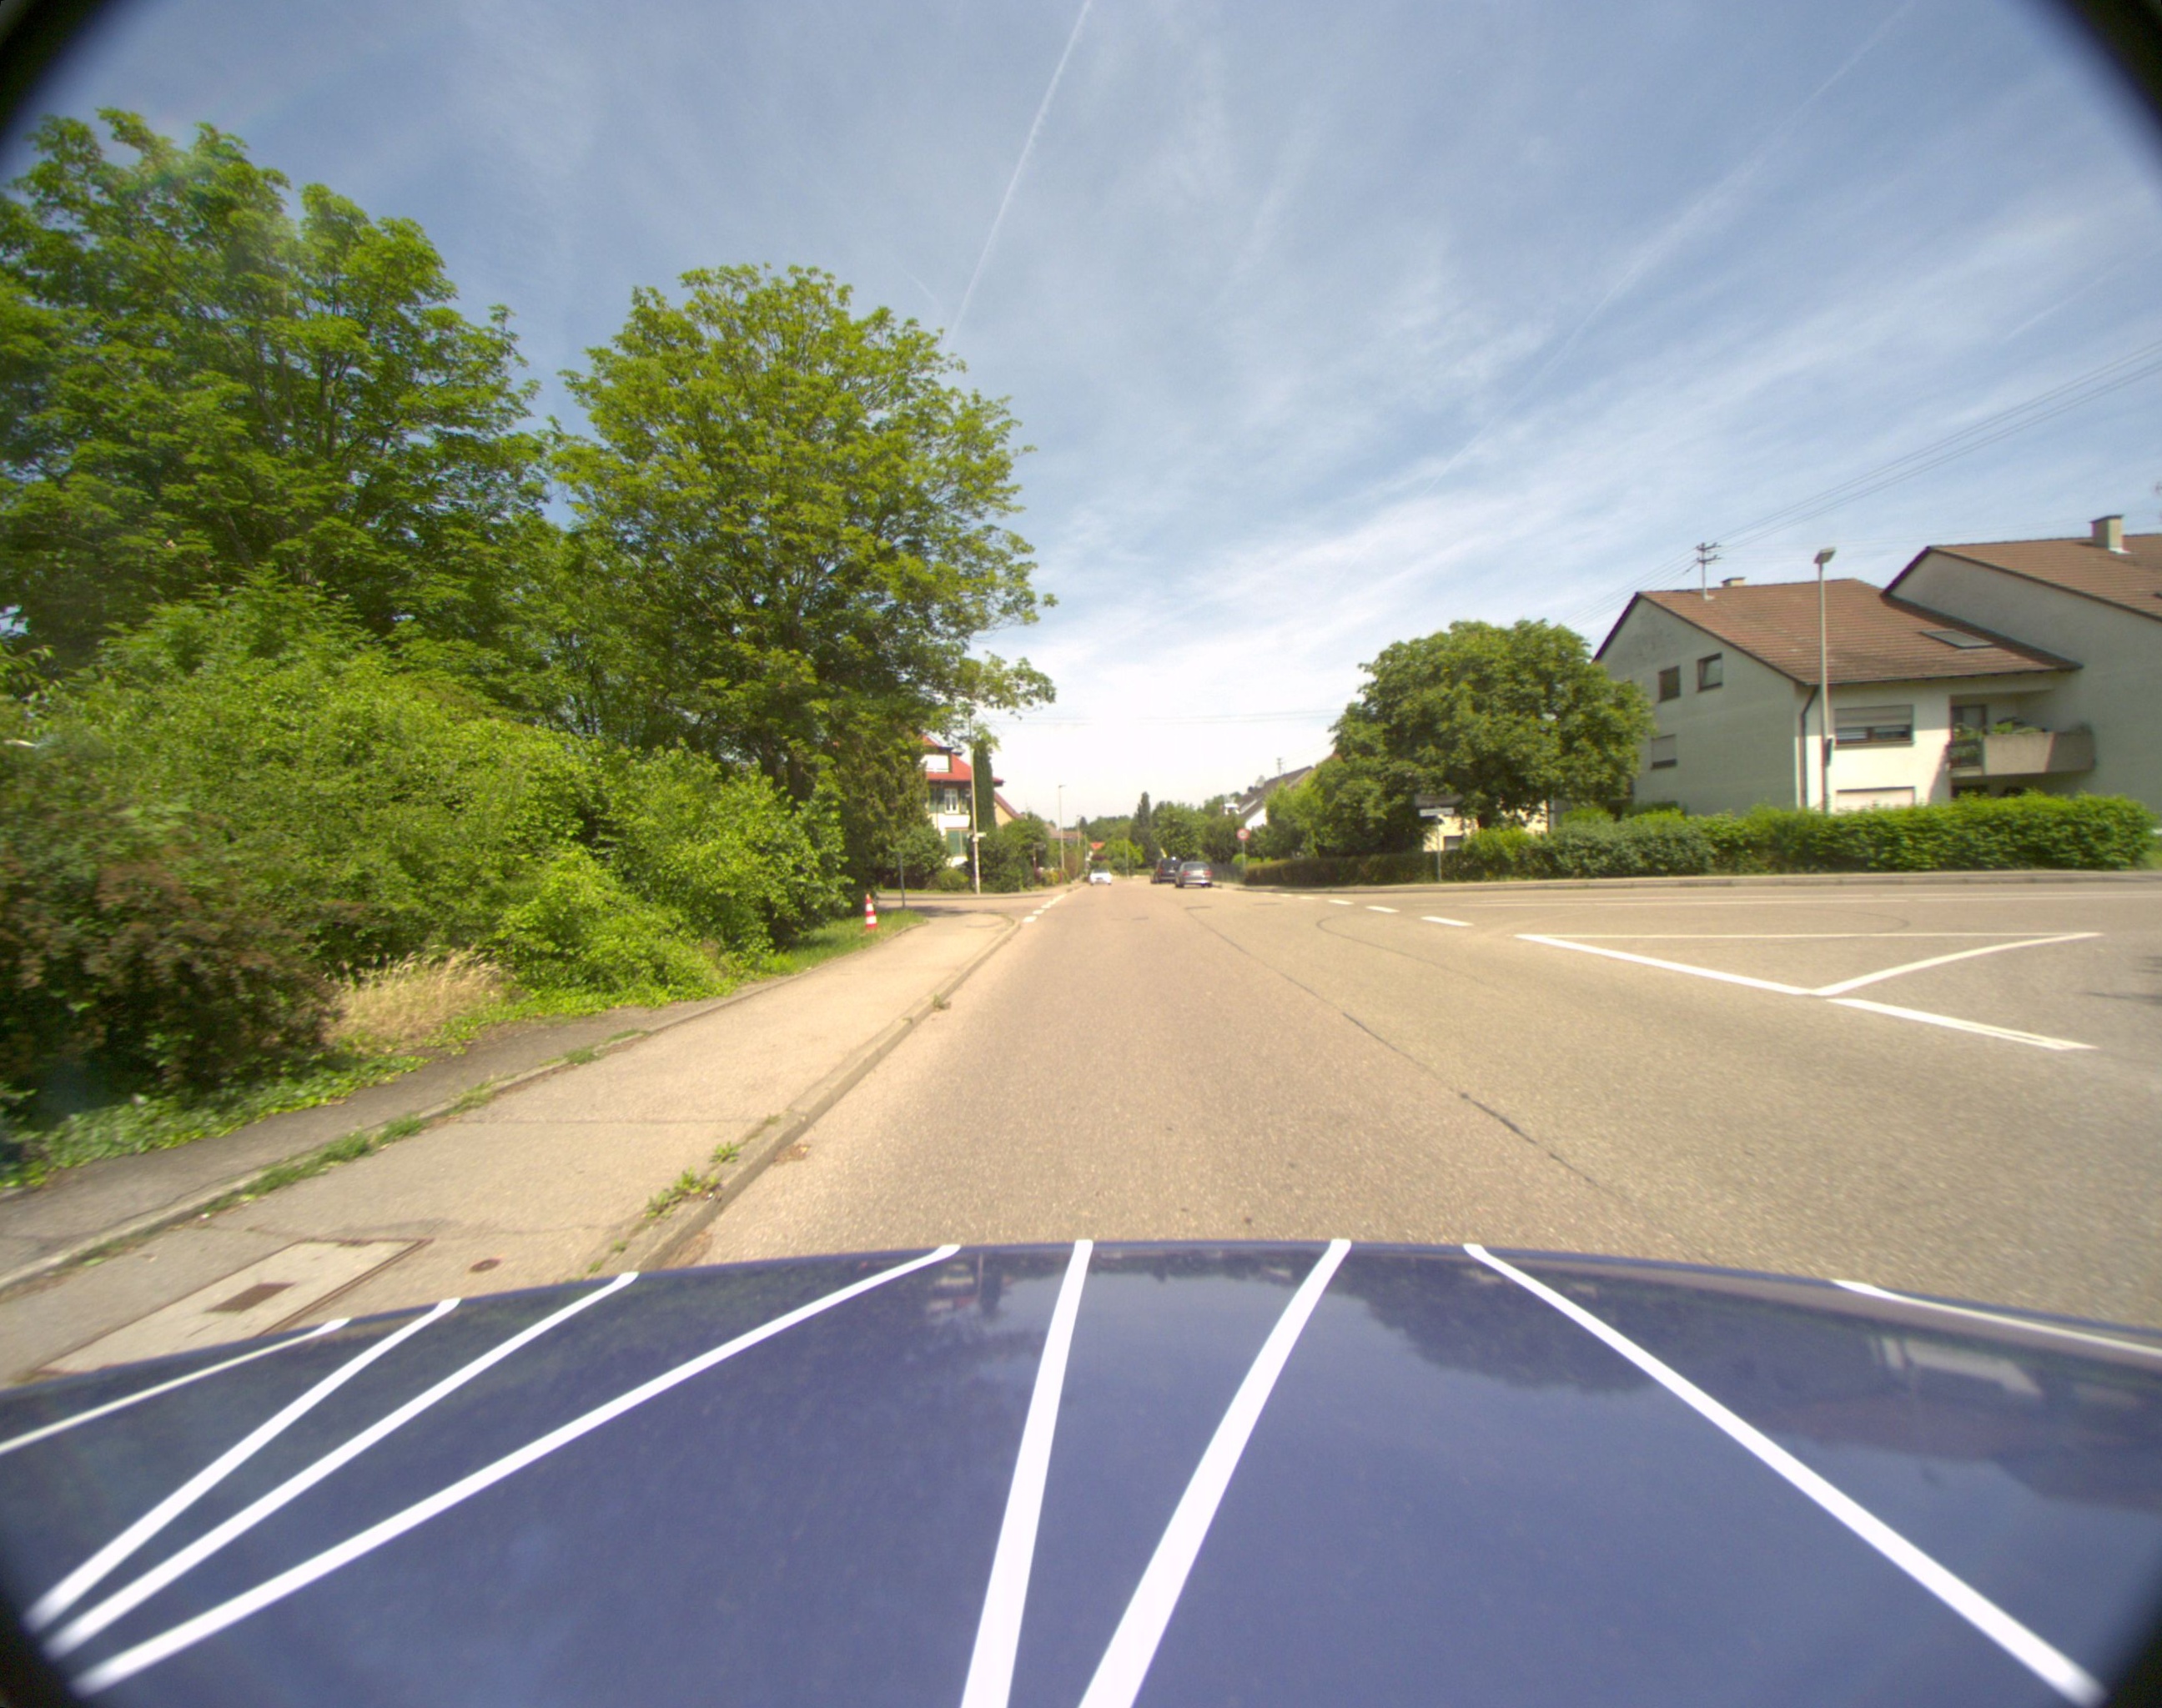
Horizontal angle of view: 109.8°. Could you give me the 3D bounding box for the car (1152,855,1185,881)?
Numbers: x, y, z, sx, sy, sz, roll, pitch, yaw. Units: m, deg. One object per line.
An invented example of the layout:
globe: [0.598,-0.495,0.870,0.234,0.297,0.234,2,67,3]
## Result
car: [6.702,1.088,58.595,1.901,1.908,4.871,-1,-2,0]

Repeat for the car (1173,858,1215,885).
car: [6.134,0.947,41.616,1.784,1.386,4.410,-1,-1,2]

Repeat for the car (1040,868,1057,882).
car: [-3.617,2.371,86.154,1.609,1.473,3.561,-2,-2,2]

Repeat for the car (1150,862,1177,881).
car: [7.180,1.550,66.427,1.815,1.540,4.244,-2,-2,0]

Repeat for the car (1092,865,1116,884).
car: [1.975,1.744,66.190,1.826,1.542,4.000,-2,-1,-1]
